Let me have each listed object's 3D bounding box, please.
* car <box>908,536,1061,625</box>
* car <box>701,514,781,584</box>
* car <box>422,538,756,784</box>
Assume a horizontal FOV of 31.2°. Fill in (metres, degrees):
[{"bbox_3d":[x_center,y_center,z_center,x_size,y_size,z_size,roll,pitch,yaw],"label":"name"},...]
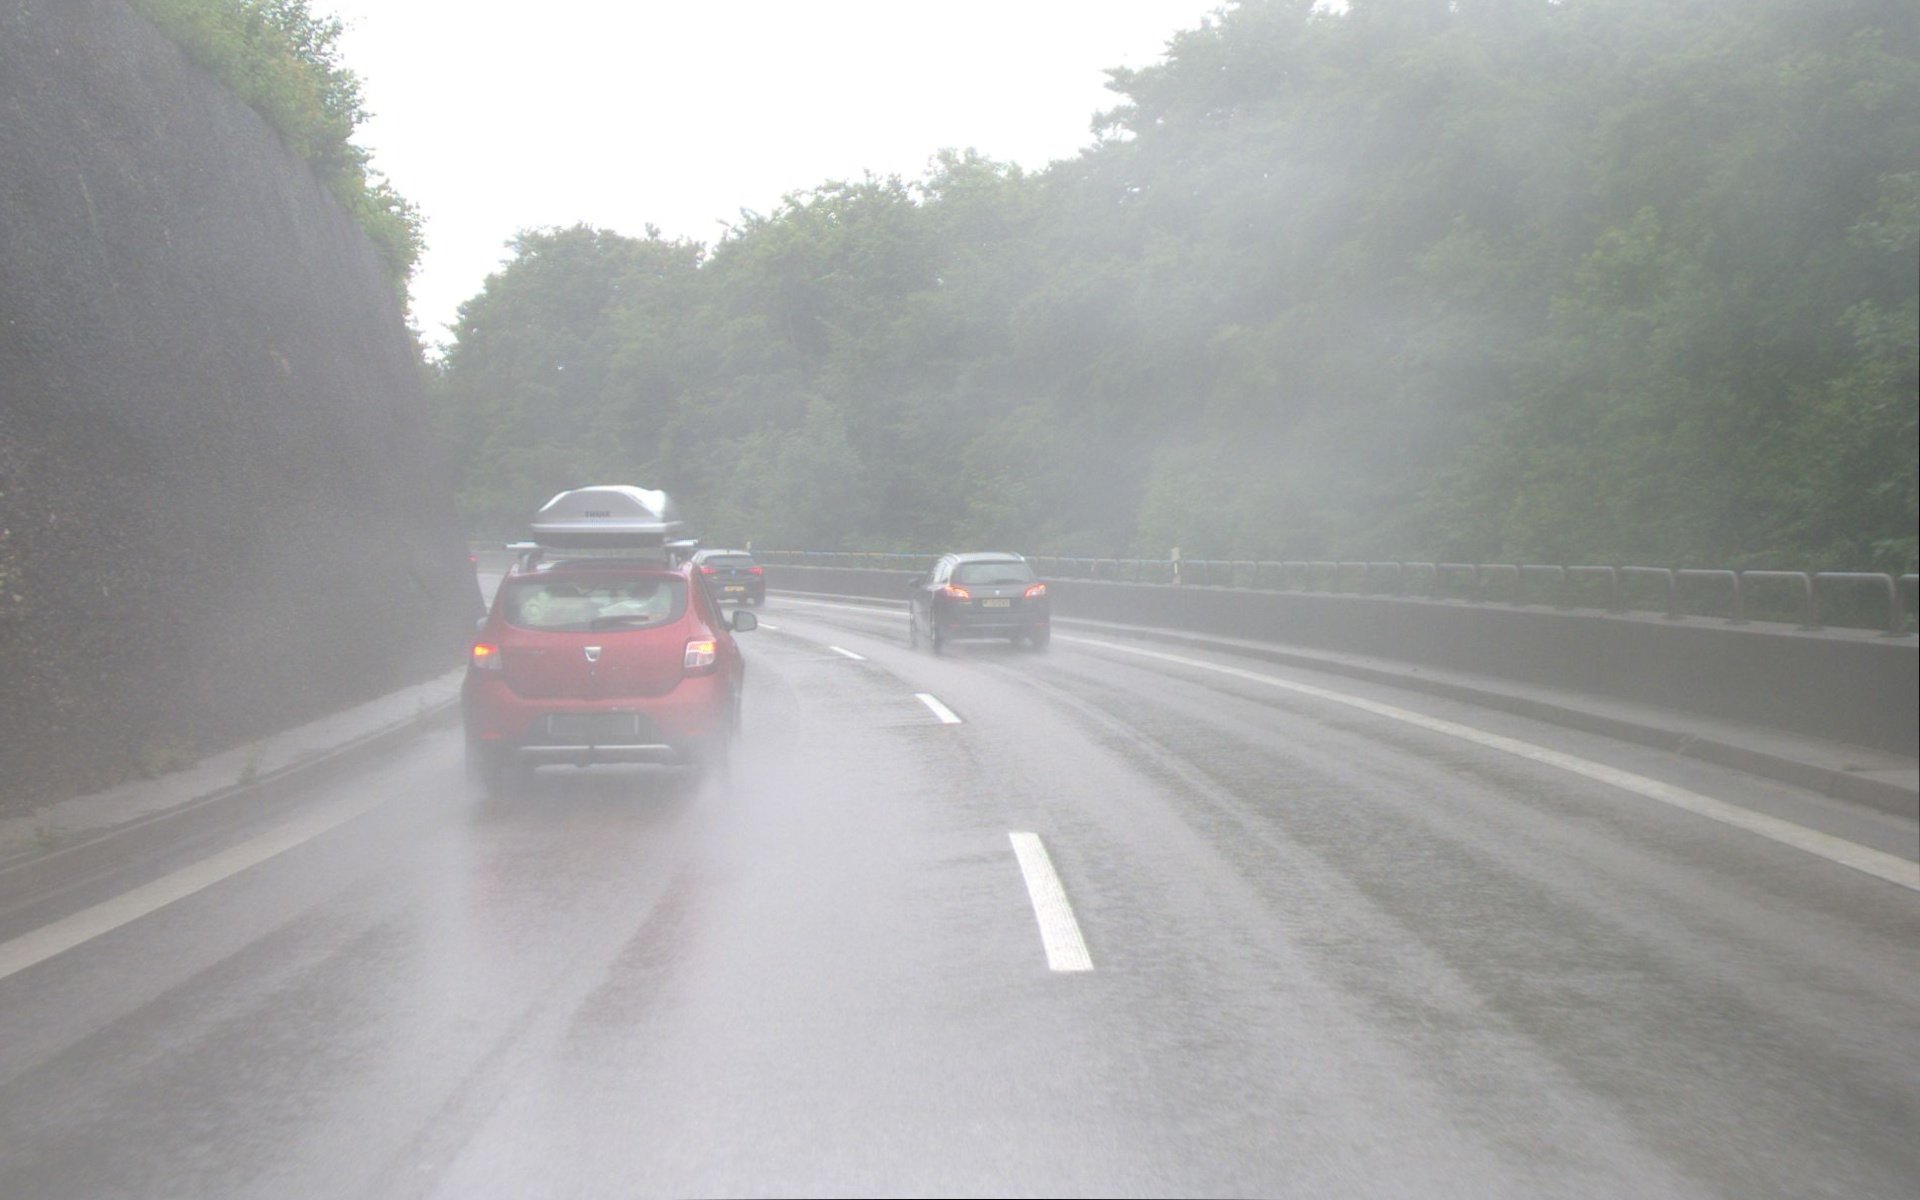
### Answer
[{"bbox_3d":[0.338,-0.315,52.940,1.800,1.303,4.001,0,1,-8],"label":"car"},{"bbox_3d":[-5.656,-1.300,88.534,1.993,1.744,4.001,0,0,-4],"label":"car"},{"bbox_3d":[-2.463,0.355,23.737,1.993,1.546,4.000,0,1,-2],"label":"car"}]
